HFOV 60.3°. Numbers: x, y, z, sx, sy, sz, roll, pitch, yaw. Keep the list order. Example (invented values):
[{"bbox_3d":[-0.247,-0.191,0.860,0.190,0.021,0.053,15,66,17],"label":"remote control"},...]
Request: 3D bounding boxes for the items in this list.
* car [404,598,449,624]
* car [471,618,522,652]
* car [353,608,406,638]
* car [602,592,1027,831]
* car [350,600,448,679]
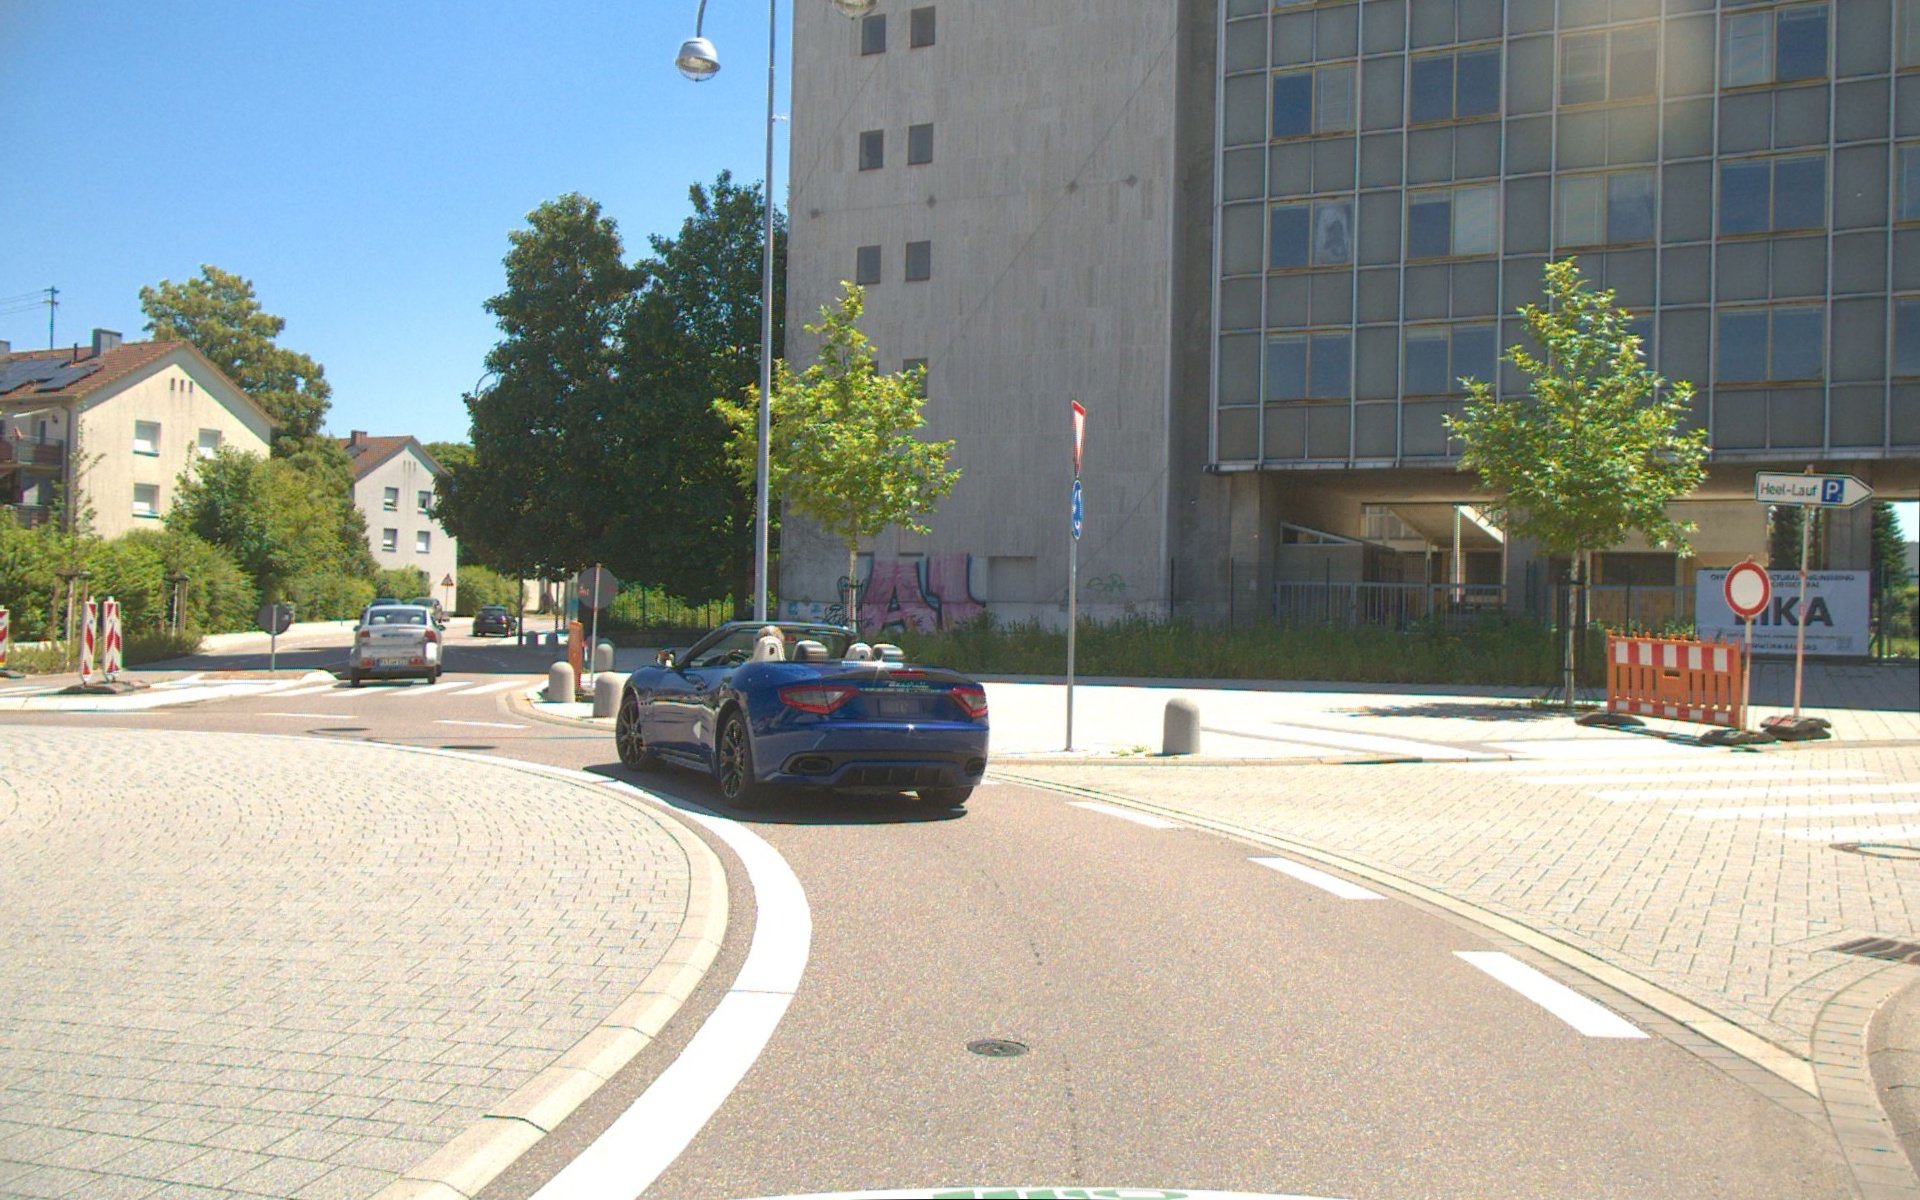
[{"bbox_3d":[-31.247,0.646,96.928,1.705,1.461,3.706,0,0,-5],"label":"car"},{"bbox_3d":[-21.652,1.631,77.345,1.705,1.461,3.706,0,0,-6],"label":"car"},{"bbox_3d":[-29.759,1.179,84.904,1.705,1.461,3.706,0,0,-5],"label":"car"},{"bbox_3d":[-1.361,0.807,13.255,1.849,1.557,4.466,2,-2,-27],"label":"car"},{"bbox_3d":[-11.339,0.740,33.309,1.714,1.461,3.687,0,0,-21],"label":"car"}]
